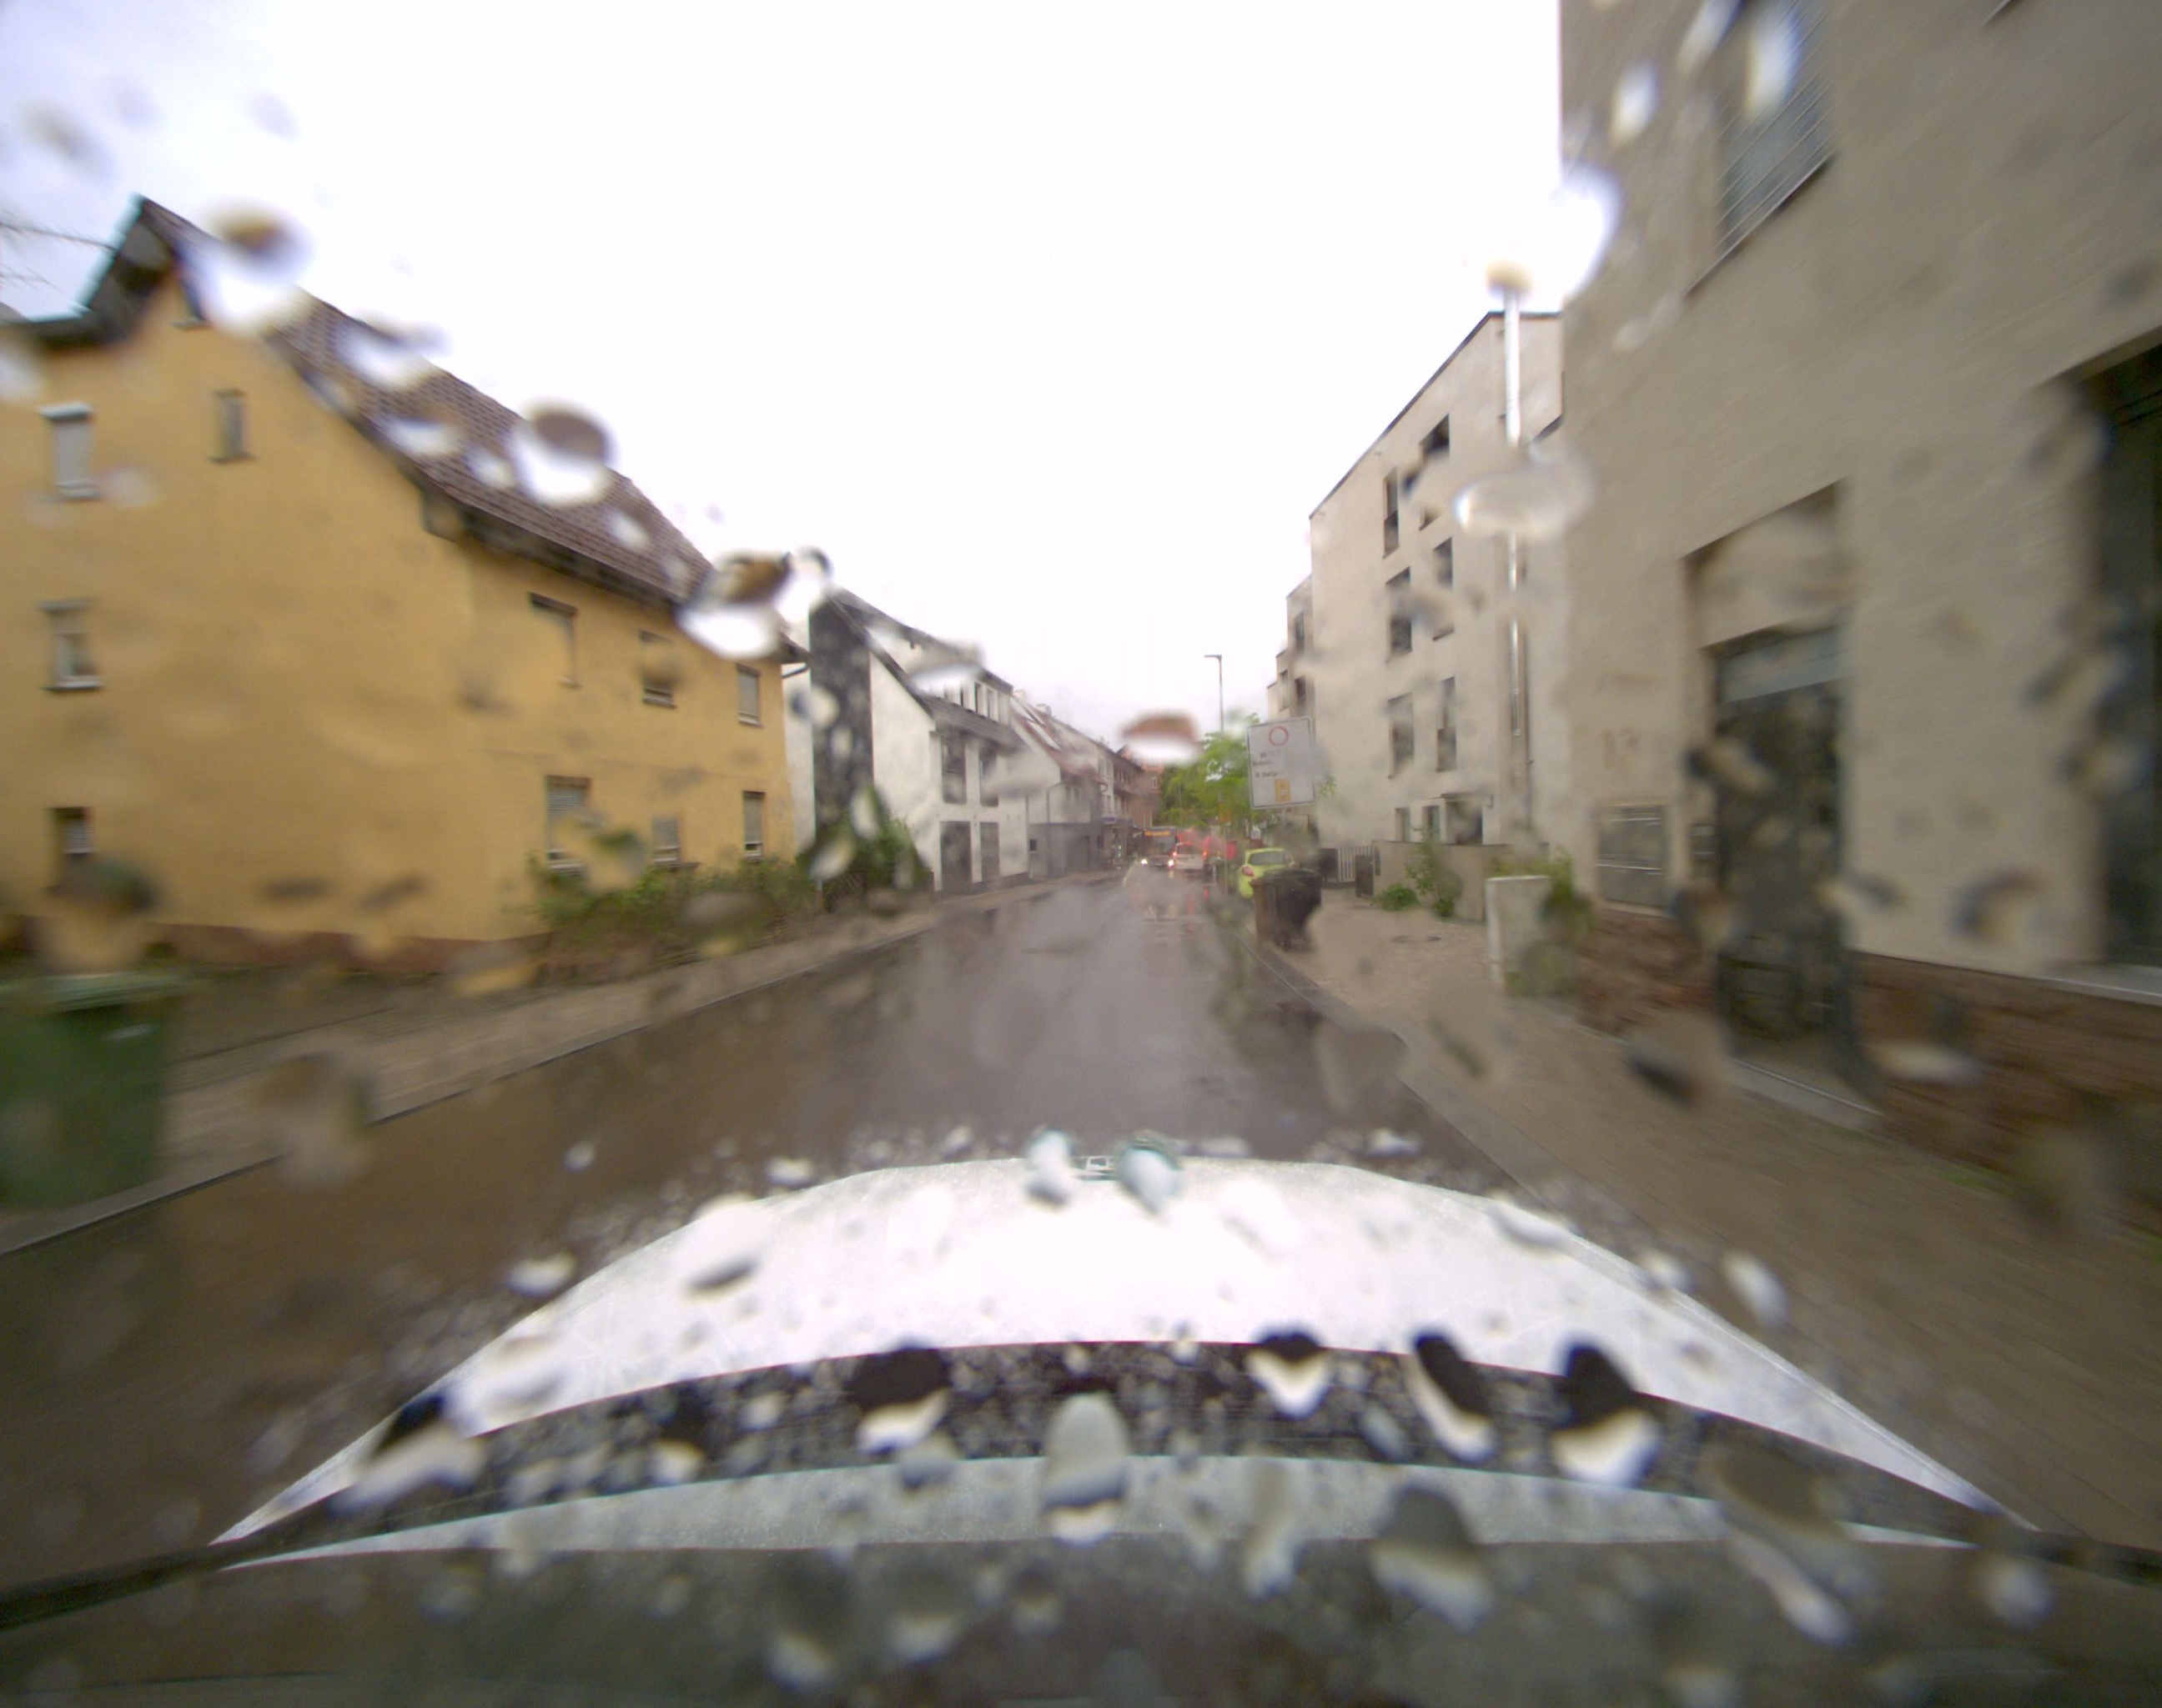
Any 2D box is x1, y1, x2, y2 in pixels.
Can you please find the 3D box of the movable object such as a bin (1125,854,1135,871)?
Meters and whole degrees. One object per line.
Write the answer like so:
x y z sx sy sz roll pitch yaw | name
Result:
3.322 0.594 55.197 0.630 1.122 0.521 -2 -1 7 | movable object such as a bin

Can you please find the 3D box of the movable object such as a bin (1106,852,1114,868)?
2.048 0.430 56.697 0.516 1.122 0.636 -2 -1 3 | movable object such as a bin

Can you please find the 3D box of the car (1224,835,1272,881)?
7.044 0.172 34.051 1.699 1.762 4.015 -2 0 14 | car

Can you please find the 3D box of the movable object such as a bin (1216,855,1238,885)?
5.559 0.589 31.027 0.805 1.109 0.988 -2 -1 10 | movable object such as a bin

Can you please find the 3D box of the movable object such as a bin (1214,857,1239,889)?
5.163 0.661 28.932 0.805 1.109 0.989 -2 -1 10 | movable object such as a bin

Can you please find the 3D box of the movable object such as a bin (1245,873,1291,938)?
3.170 0.869 13.842 0.702 1.046 0.519 -2 -1 8 | movable object such as a bin

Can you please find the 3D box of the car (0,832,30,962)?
-15.865 0.498 10.152 3.960 1.633 1.796 3 4 12 | car

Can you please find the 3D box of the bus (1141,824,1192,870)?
6.534 -0.590 61.041 2.721 3.130 9.265 -2 1 12 | bus

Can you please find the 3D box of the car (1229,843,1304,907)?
4.844 0.499 21.669 1.594 1.484 3.309 -4 0 8 | car

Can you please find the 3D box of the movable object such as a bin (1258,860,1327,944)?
3.183 0.690 12.364 0.763 1.173 1.543 -2 0 6 | movable object such as a bin

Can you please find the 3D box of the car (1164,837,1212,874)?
5.985 0.084 45.229 2.180 1.851 4.319 -3 0 12 | car

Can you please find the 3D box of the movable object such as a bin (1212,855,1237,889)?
4.868 0.613 27.645 0.805 1.109 0.989 -2 -1 10 | movable object such as a bin

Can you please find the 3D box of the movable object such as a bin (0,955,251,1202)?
-5.023 1.102 4.211 0.657 1.056 0.764 0 0 2 | movable object such as a bin
